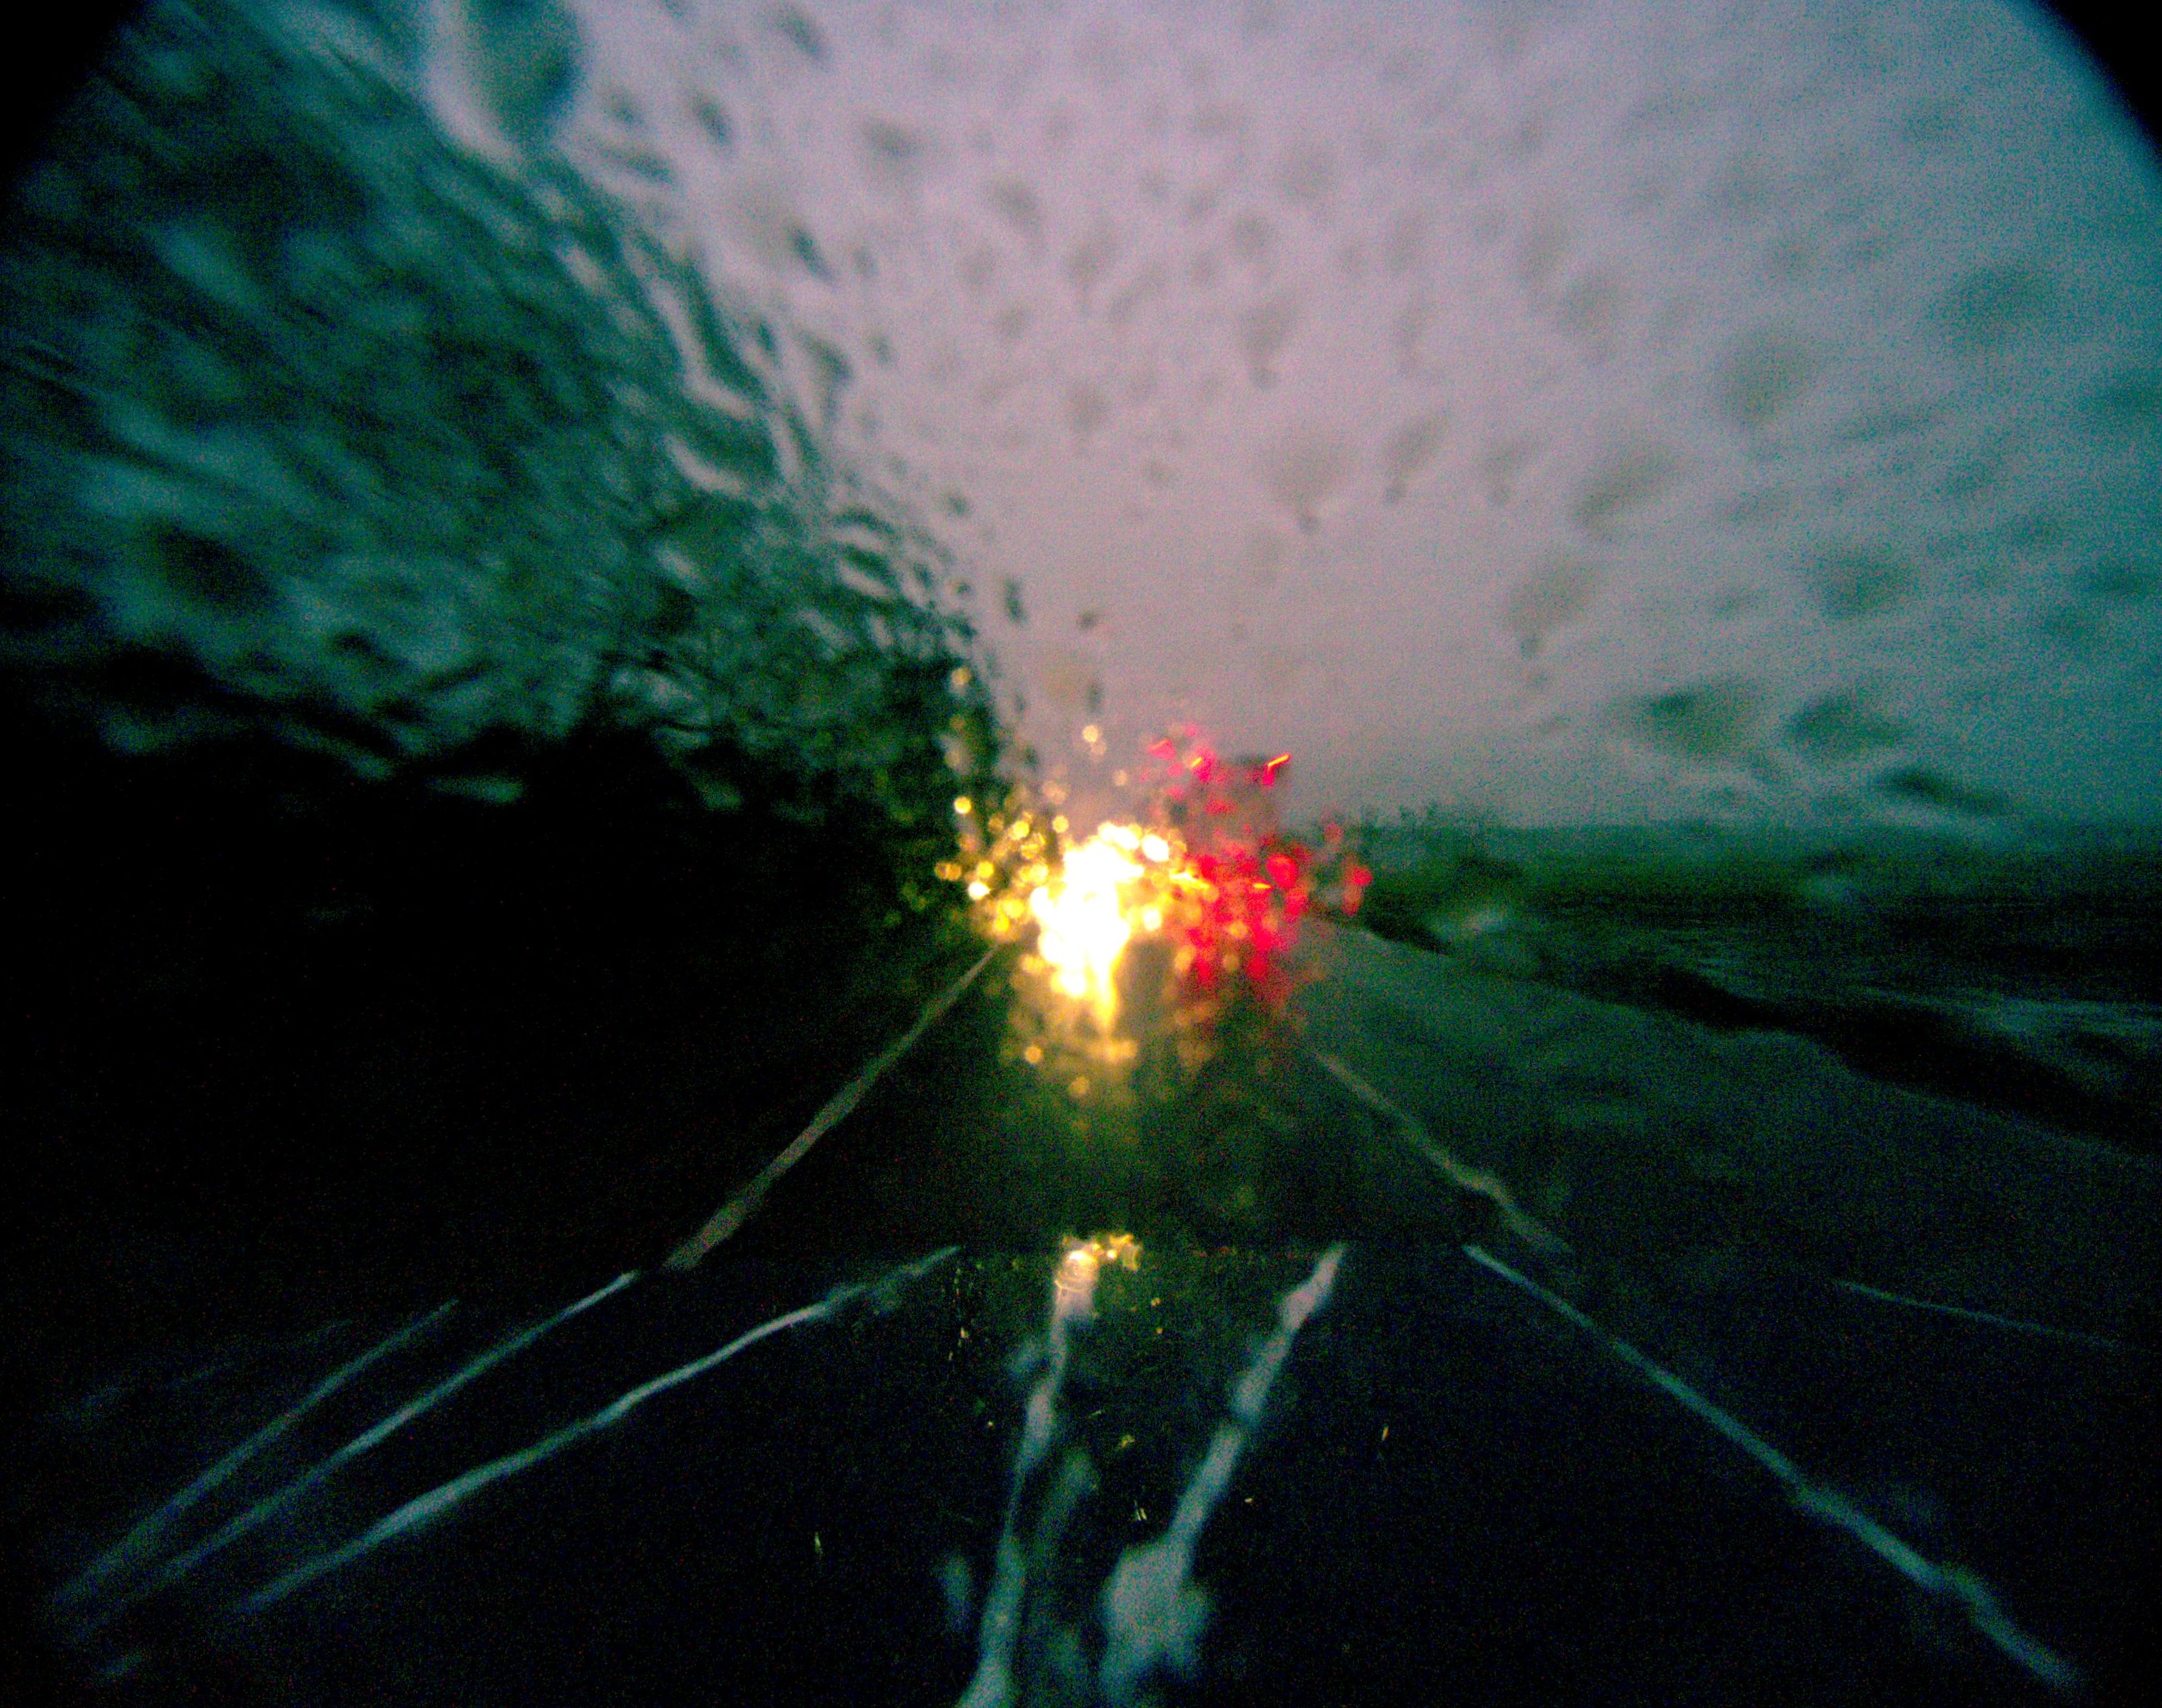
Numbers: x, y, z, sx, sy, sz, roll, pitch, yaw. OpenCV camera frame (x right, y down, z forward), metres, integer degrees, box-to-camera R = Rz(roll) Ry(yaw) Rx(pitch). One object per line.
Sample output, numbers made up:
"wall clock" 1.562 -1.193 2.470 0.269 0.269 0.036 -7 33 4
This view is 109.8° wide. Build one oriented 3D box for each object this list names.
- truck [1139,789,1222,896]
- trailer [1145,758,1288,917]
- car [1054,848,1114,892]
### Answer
"truck" 4.095 -0.437 32.553 2.732 4.081 6.588 0 0 0
"trailer" 4.012 -0.419 25.730 2.708 4.056 12.381 0 0 0
"car" 0.218 0.731 38.589 2.704 1.974 5.804 -2 0 2
